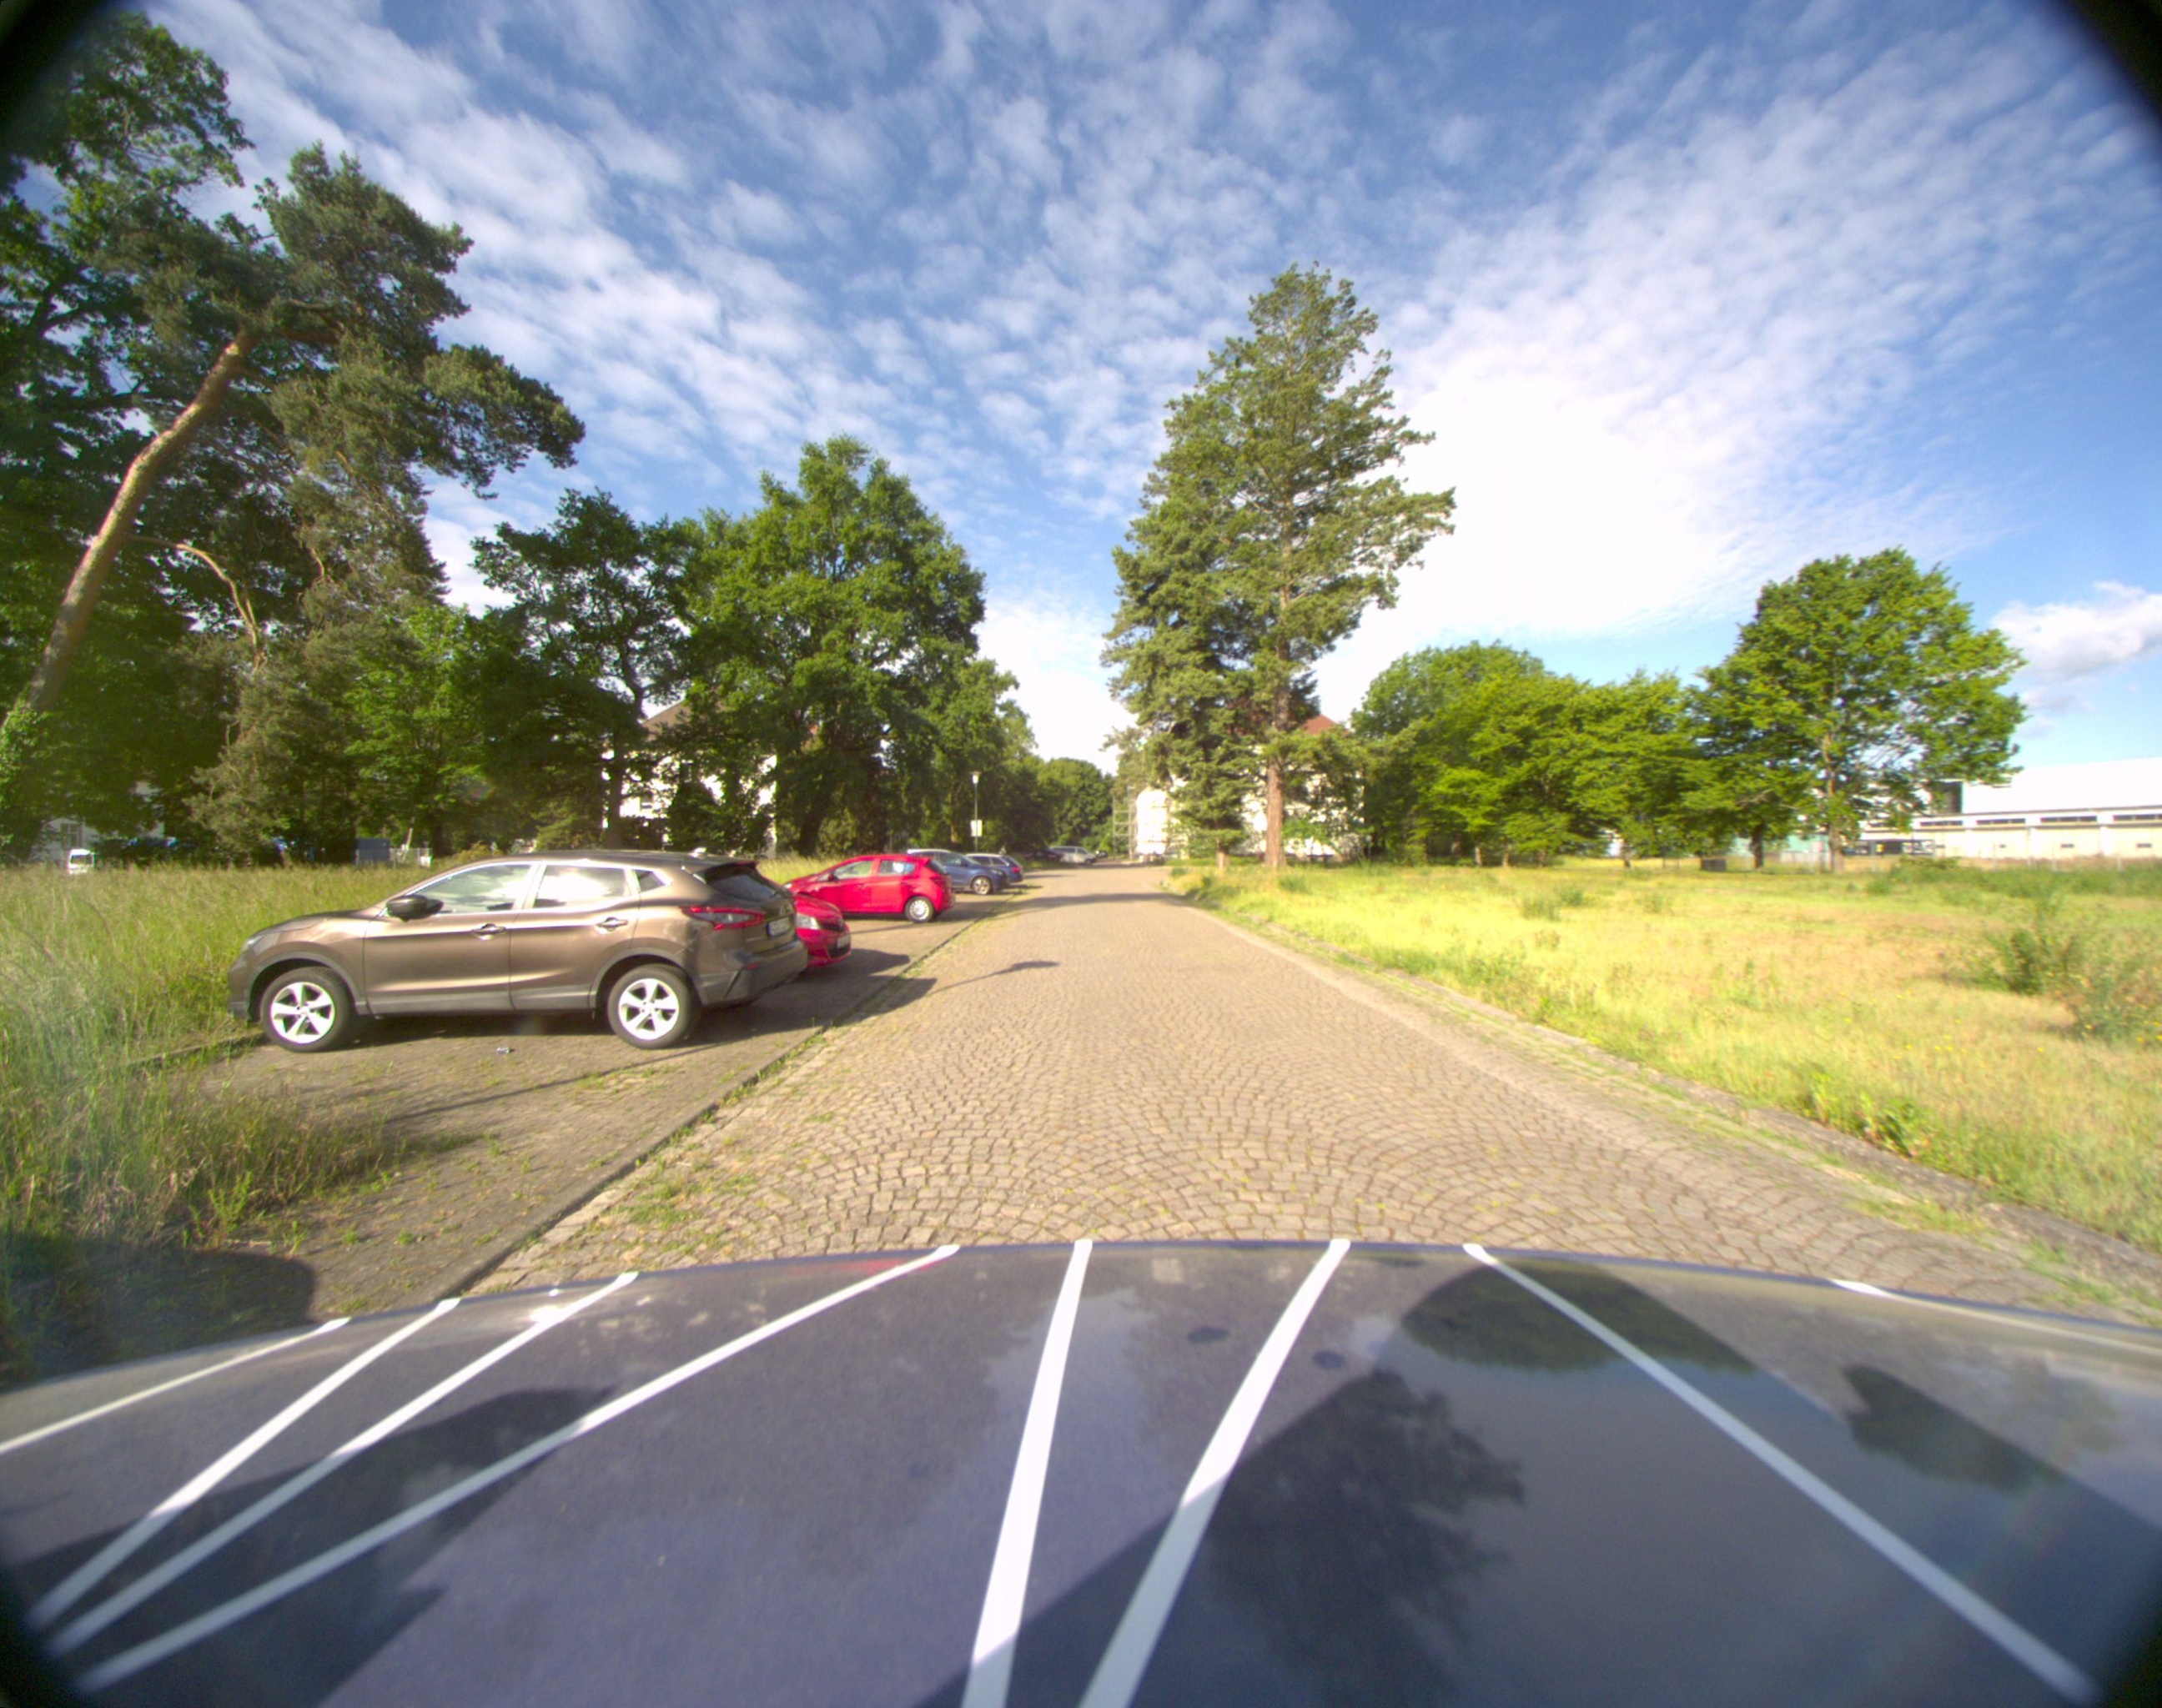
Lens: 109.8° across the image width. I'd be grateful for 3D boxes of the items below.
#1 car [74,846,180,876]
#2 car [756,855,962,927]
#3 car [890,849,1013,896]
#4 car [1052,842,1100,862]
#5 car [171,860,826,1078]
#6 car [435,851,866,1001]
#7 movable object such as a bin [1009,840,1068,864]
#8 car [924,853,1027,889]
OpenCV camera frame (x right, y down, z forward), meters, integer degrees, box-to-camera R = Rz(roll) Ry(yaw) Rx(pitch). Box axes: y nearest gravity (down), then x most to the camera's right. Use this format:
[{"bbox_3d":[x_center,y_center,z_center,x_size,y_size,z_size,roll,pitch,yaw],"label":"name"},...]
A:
[{"bbox_3d":[-68.123,0.478,54.372,1.906,1.928,4.394,-2,1,1],"label":"car"},{"bbox_3d":[-4.882,0.800,17.149,4.098,1.451,1.853,1,0,-1],"label":"car"},{"bbox_3d":[-4.589,0.654,27.289,4.098,1.548,1.853,1,0,-1],"label":"car"},{"bbox_3d":[-0.581,-0.251,80.839,4.933,2.002,1.998,1,1,-6],"label":"car"},{"bbox_3d":[-4.708,0.874,6.752,4.237,1.589,1.934,0,1,-3],"label":"car"},{"bbox_3d":[-5.056,0.810,9.457,4.237,1.589,1.934,1,1,-3],"label":"car"},{"bbox_3d":[-3.815,-0.156,67.905,4.865,2.002,2.002,-1,1,13],"label":"movable object such as a bin"},{"bbox_3d":[-4.365,0.695,32.014,4.098,1.415,1.784,1,0,-1],"label":"car"}]
